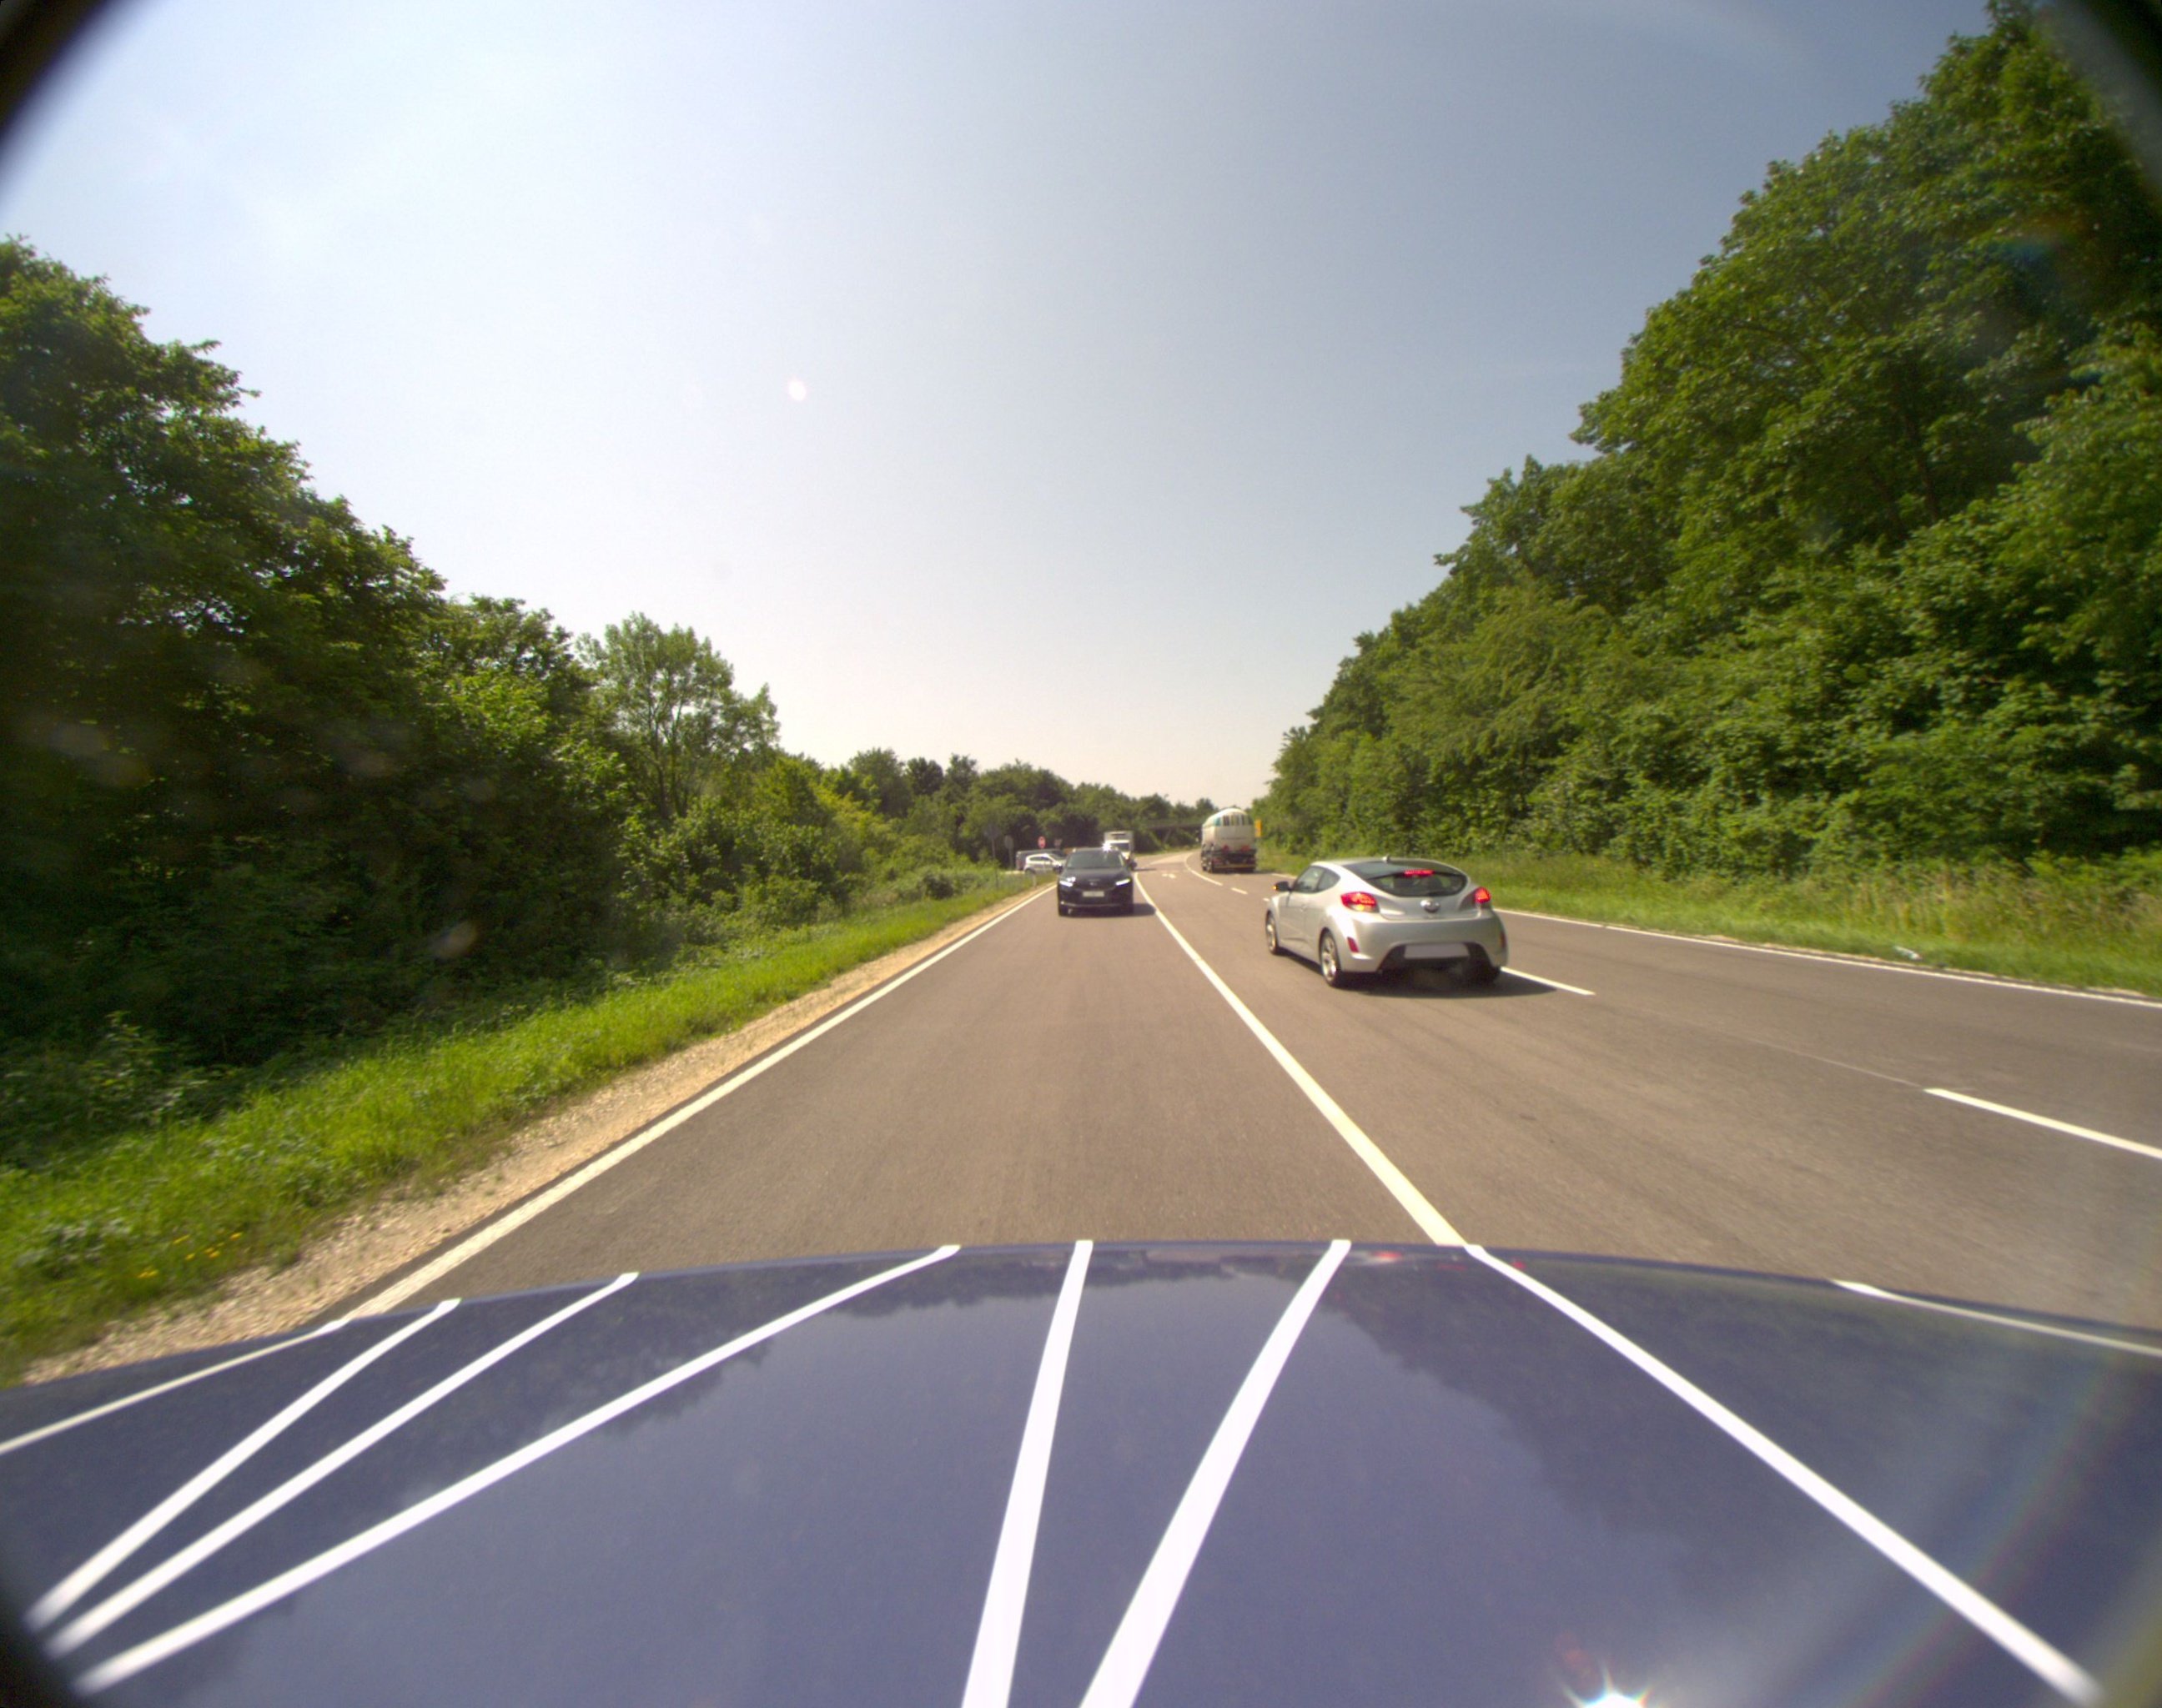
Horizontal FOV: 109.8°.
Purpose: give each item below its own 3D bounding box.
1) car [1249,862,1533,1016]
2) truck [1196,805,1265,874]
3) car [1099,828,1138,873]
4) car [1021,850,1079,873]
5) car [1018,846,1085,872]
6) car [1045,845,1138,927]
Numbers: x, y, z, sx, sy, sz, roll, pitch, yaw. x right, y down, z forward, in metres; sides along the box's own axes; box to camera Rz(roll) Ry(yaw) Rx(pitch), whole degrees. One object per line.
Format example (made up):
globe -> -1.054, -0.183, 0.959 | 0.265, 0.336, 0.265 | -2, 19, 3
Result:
car -> 3.445, 0.848, 9.368 | 1.713, 1.411, 4.098 | -2, -1, -1
truck -> 8.802, -0.839, 45.807 | 2.633, 3.650, 8.796 | -2, 1, 2
car -> 2.805, -0.332, 56.387 | 2.591, 3.047, 6.881 | -2, 1, 4
car -> -2.323, 0.611, 56.847 | 3.983, 1.570, 1.849 | -3, -2, 32
car -> -2.505, 0.373, 63.134 | 5.231, 1.896, 2.011 | -3, 2, -12
car -> 0.384, 0.700, 19.049 | 1.924, 1.711, 5.480 | -2, 0, 3
